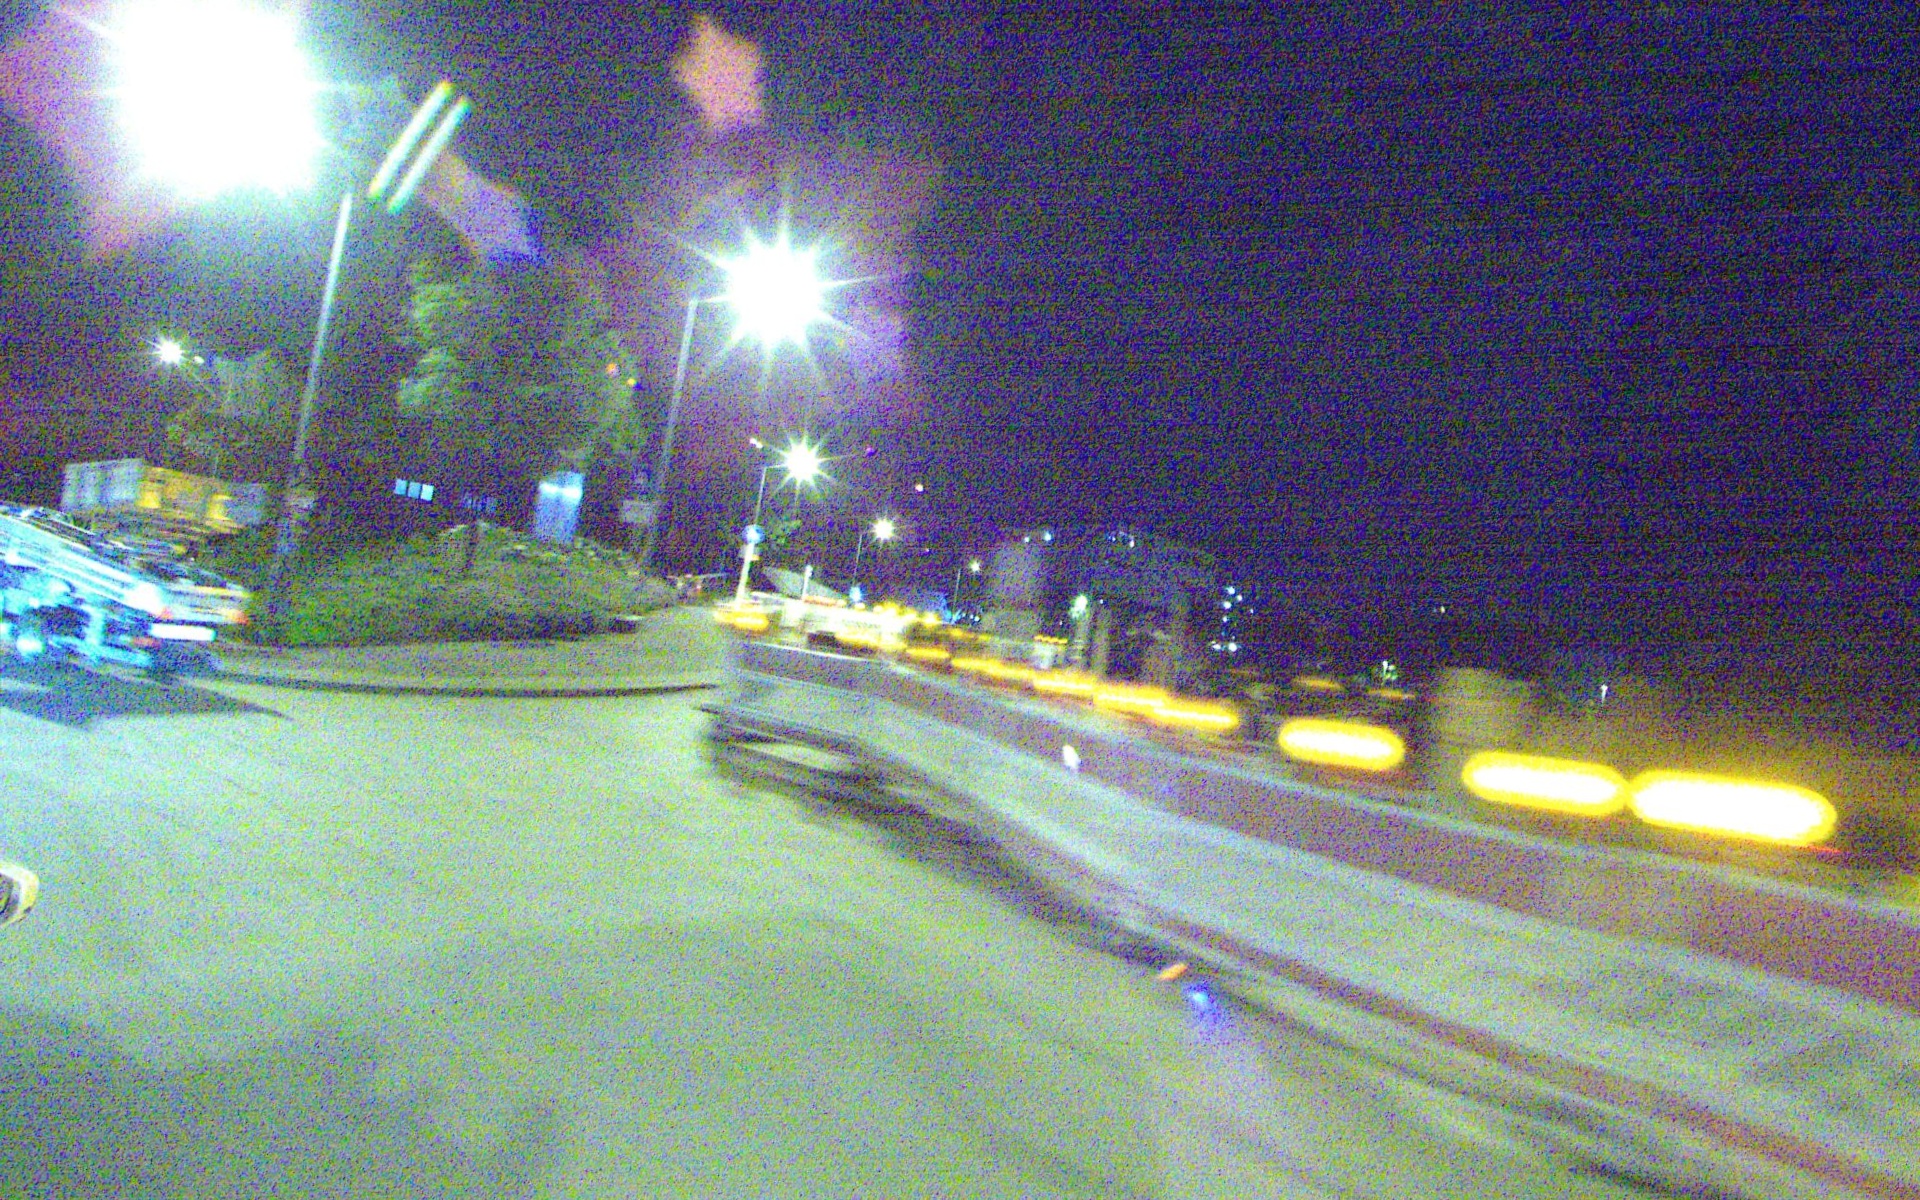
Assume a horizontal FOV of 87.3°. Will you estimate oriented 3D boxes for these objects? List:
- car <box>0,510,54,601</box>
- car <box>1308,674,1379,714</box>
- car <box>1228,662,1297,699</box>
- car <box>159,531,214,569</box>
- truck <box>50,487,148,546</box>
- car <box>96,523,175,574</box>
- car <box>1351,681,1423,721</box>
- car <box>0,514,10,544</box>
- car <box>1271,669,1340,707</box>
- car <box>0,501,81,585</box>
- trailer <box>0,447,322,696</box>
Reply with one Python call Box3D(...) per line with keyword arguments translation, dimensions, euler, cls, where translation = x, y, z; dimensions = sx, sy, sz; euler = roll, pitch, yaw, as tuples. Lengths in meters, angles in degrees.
Box3D(translation=(-20.350, -1.079, 21.114), dimensions=(1.718, 1.678, 3.952), euler=(13, -5, -43), cls="car")
Box3D(translation=(19.613, 4.812, 51.376), dimensions=(1.972, 1.436, 3.985), euler=(8, -2, 42), cls="car")
Box3D(translation=(16.470, 4.388, 54.641), dimensions=(1.972, 1.436, 3.985), euler=(8, -2, 42), cls="car")
Box3D(translation=(-45.989, -2.936, 59.914), dimensions=(1.709, 1.839, 3.974), euler=(11, -4, -28), cls="car")
Box3D(translation=(-64.306, -6.116, 75.402), dimensions=(1.974, 3.439, 8.943), euler=(11, -3, -19), cls="truck")
Box3D(translation=(-36.368, -2.223, 44.486), dimensions=(1.709, 1.839, 3.974), euler=(11, -4, -28), cls="car")
Box3D(translation=(21.072, 5.000, 49.553), dimensions=(1.972, 1.436, 3.985), euler=(8, -2, 42), cls="car")
Box3D(translation=(-56.867, -4.348, 57.878), dimensions=(1.980, 1.717, 4.178), euler=(11, -4, -28), cls="car")
Box3D(translation=(18.335, 4.654, 53.307), dimensions=(1.972, 1.436, 3.985), euler=(8, -2, 42), cls="car")
Box3D(translation=(-24.925, -1.555, 26.962), dimensions=(1.718, 1.839, 3.952), euler=(13, -5, -43), cls="car")
Box3D(translation=(-9.745, -0.427, 11.057), dimensions=(5.124, 2.185, 1.566), euler=(7, -1, 19), cls="trailer")
